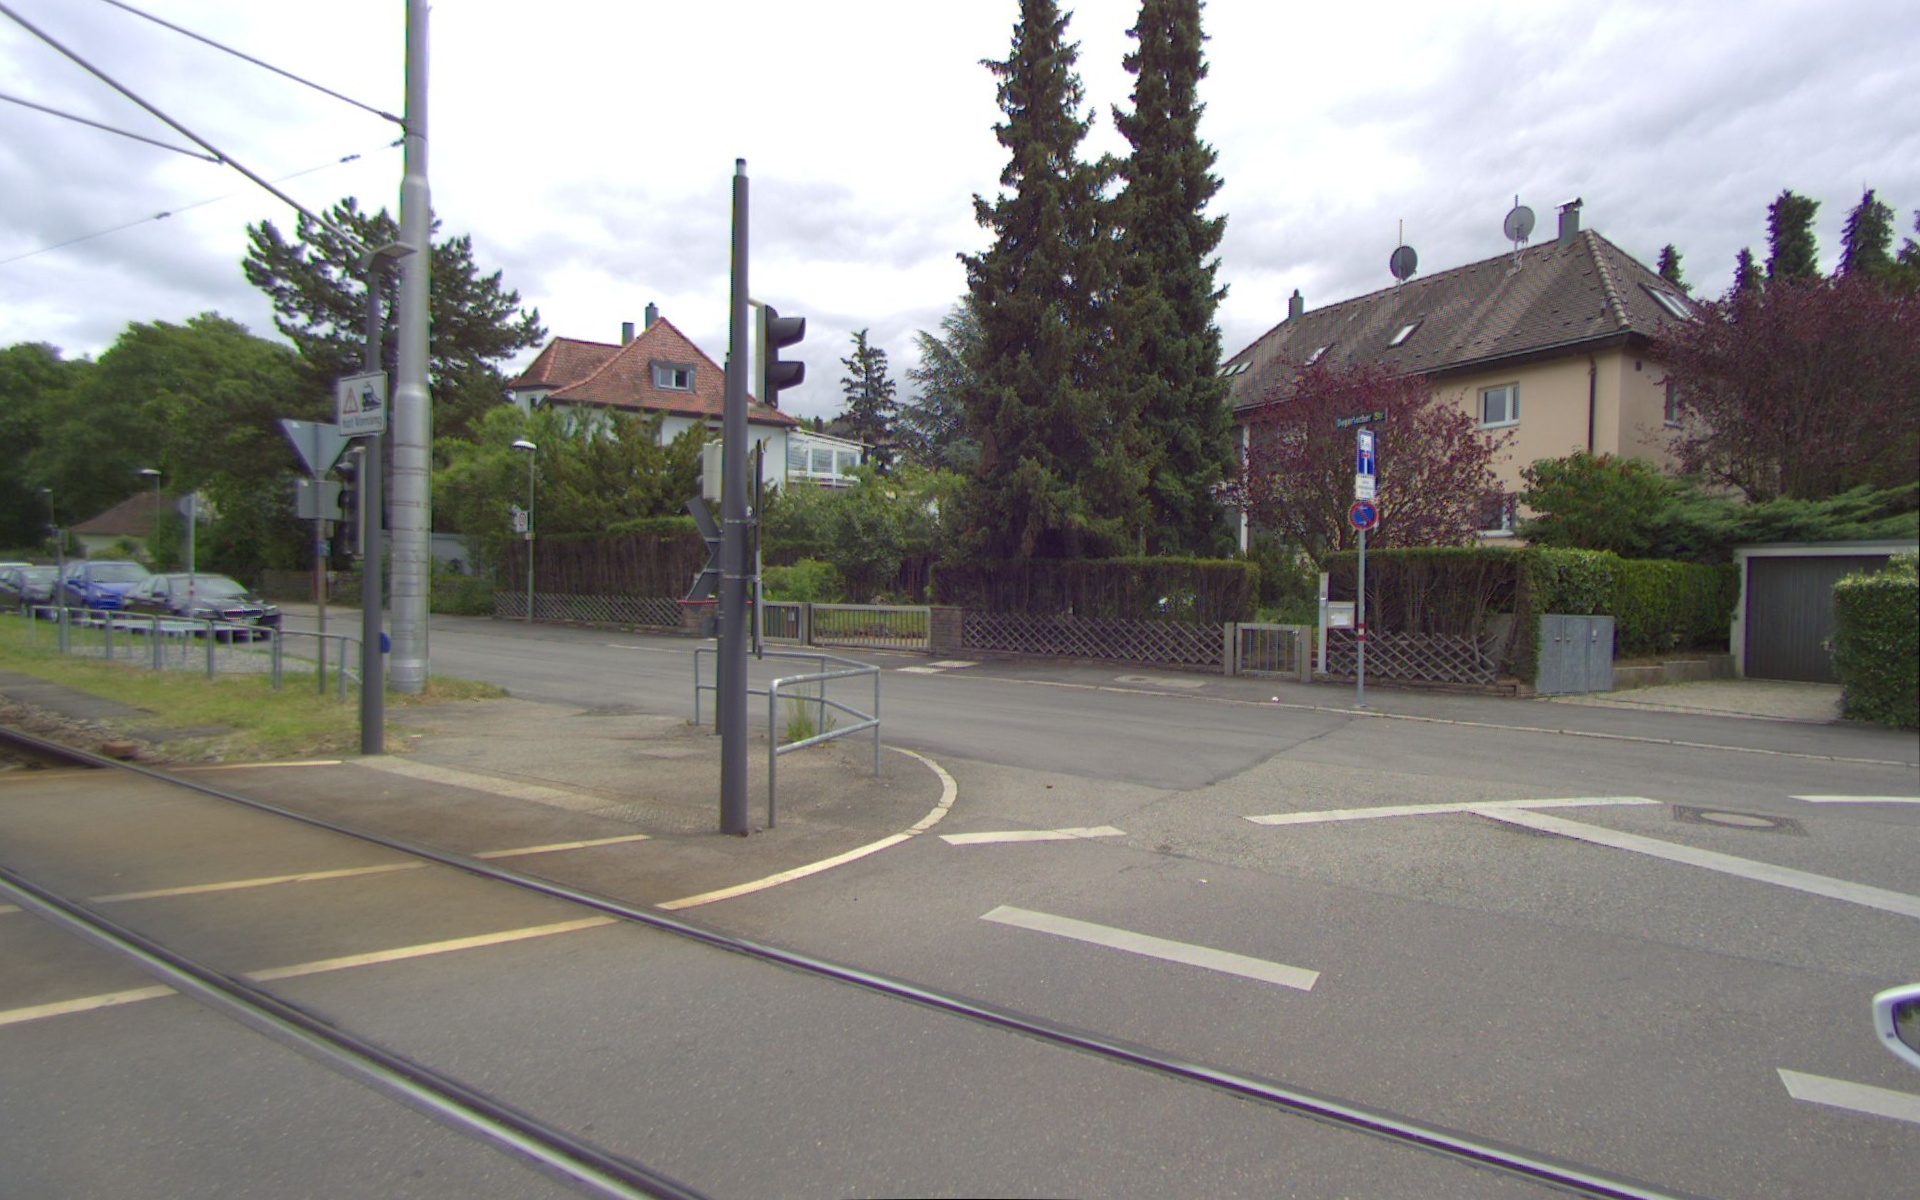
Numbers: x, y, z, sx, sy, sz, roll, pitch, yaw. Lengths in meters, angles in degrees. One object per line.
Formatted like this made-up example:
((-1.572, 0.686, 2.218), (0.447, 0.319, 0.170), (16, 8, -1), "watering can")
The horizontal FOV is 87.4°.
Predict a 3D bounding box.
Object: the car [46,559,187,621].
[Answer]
((-22.083, -0.298, 26.273), (3.933, 1.500, 1.849), (2, 2, 34), "car")

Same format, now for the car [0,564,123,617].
((-25.815, -0.299, 28.771), (3.933, 1.394, 1.849), (2, 2, 34), "car")

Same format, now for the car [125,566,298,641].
((-17.018, 0.029, 22.813), (4.048, 1.522, 1.818), (2, 2, 32), "car")

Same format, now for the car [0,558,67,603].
((-30.814, -0.648, 32.590), (3.933, 1.394, 1.849), (2, 2, 34), "car")
